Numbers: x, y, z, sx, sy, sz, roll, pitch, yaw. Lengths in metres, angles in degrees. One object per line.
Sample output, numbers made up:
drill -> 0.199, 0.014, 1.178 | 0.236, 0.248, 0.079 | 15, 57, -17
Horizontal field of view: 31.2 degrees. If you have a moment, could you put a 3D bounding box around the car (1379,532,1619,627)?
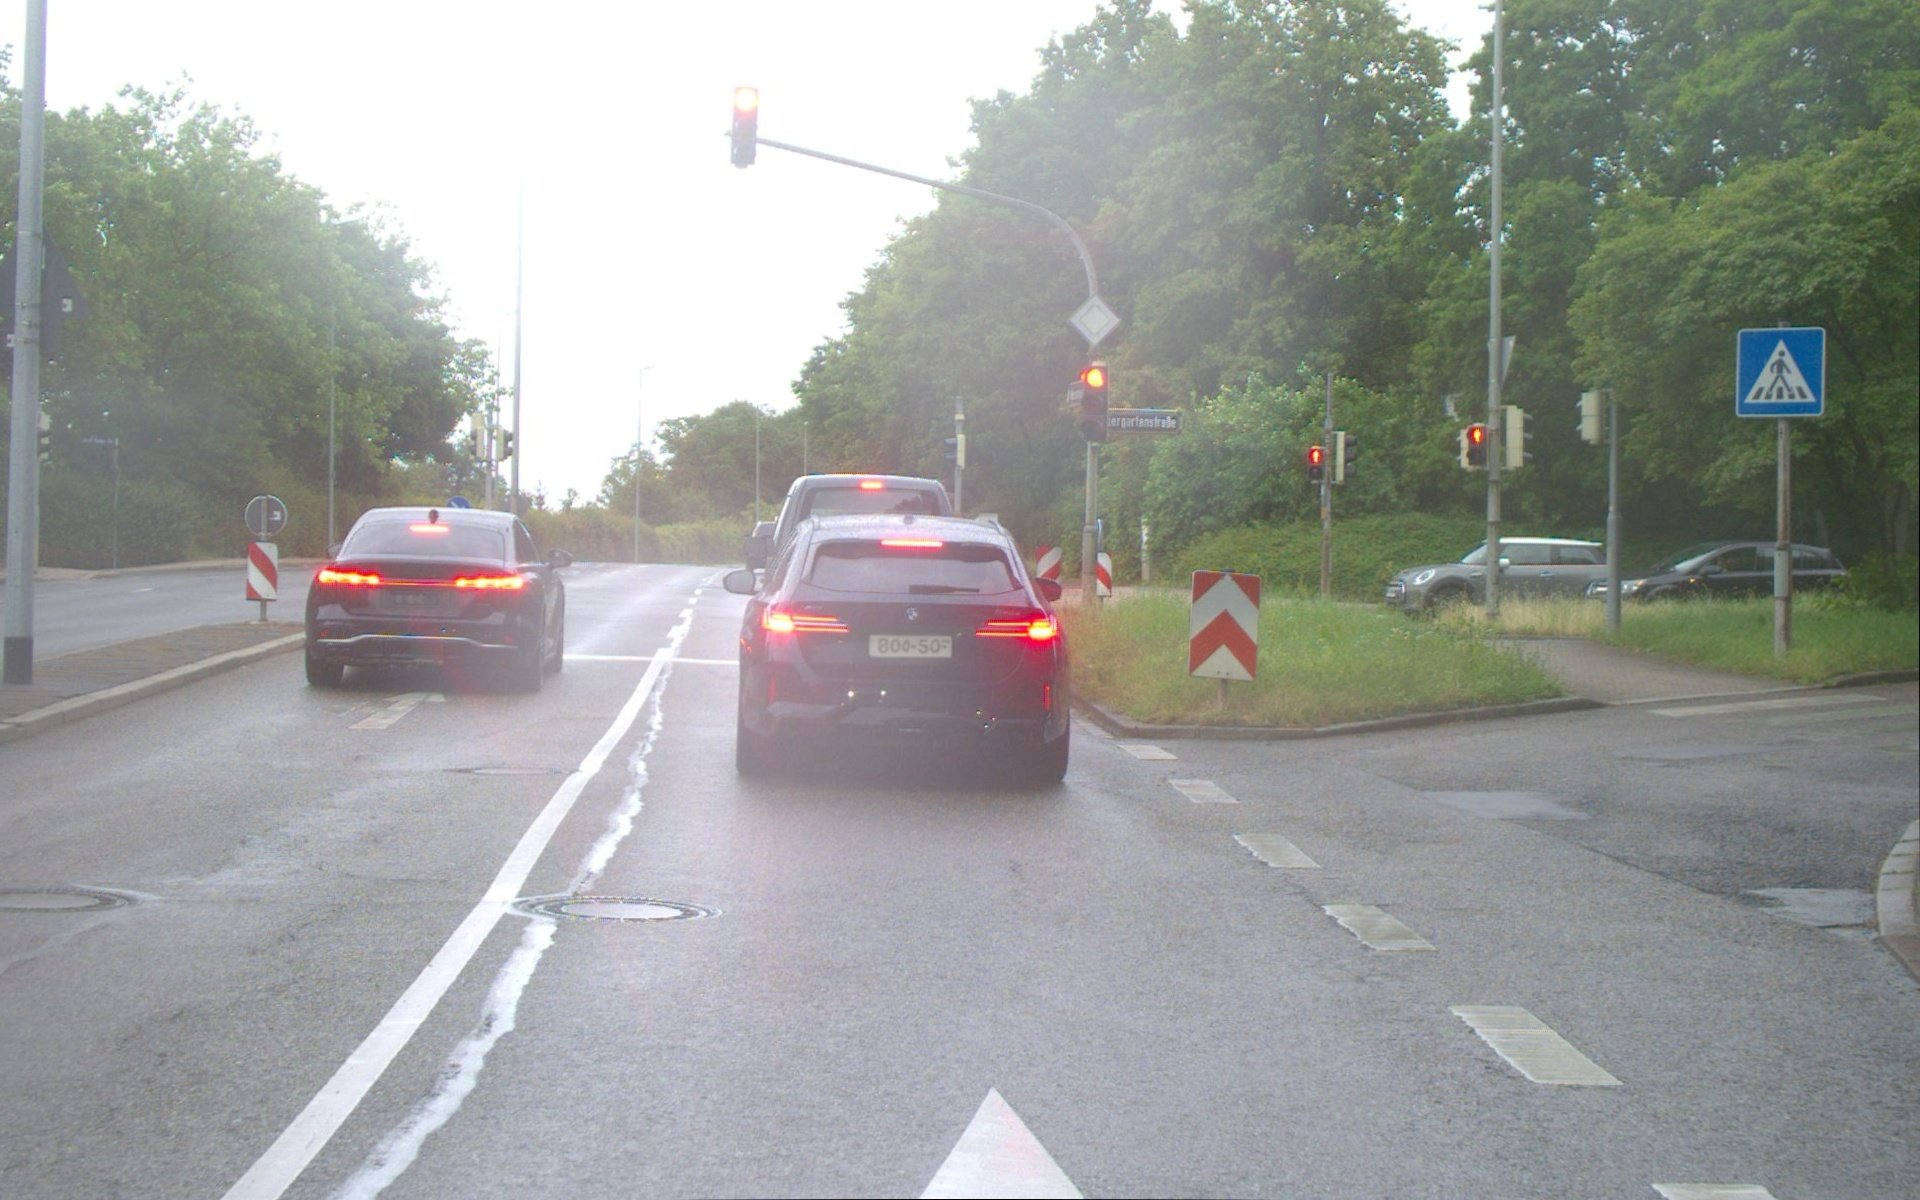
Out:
car -> 8.763, -0.326, 56.062 | 3.501, 1.422, 1.703 | -1, -2, -6

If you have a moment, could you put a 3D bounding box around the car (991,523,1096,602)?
car -> 1.647, -0.776, 69.057 | 1.873, 1.537, 3.953 | 0, 1, -2

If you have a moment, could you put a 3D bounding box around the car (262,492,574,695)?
car -> -4.346, -0.093, 28.205 | 1.993, 1.522, 4.328 | 0, 1, -2

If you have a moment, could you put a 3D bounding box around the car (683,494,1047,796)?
car -> -0.464, 0.225, 20.810 | 1.898, 1.546, 4.615 | 2, 0, 1

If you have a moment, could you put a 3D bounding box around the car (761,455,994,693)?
car -> -0.731, -0.249, 29.897 | 1.818, 1.862, 3.953 | 2, 1, -2

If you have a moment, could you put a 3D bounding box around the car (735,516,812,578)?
car -> -5.058, -1.452, 93.519 | 1.993, 1.618, 3.953 | 0, 1, -2

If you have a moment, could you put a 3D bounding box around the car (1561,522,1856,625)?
car -> 11.454, -0.391, 52.770 | 3.986, 1.504, 1.902 | 0, -2, -8
